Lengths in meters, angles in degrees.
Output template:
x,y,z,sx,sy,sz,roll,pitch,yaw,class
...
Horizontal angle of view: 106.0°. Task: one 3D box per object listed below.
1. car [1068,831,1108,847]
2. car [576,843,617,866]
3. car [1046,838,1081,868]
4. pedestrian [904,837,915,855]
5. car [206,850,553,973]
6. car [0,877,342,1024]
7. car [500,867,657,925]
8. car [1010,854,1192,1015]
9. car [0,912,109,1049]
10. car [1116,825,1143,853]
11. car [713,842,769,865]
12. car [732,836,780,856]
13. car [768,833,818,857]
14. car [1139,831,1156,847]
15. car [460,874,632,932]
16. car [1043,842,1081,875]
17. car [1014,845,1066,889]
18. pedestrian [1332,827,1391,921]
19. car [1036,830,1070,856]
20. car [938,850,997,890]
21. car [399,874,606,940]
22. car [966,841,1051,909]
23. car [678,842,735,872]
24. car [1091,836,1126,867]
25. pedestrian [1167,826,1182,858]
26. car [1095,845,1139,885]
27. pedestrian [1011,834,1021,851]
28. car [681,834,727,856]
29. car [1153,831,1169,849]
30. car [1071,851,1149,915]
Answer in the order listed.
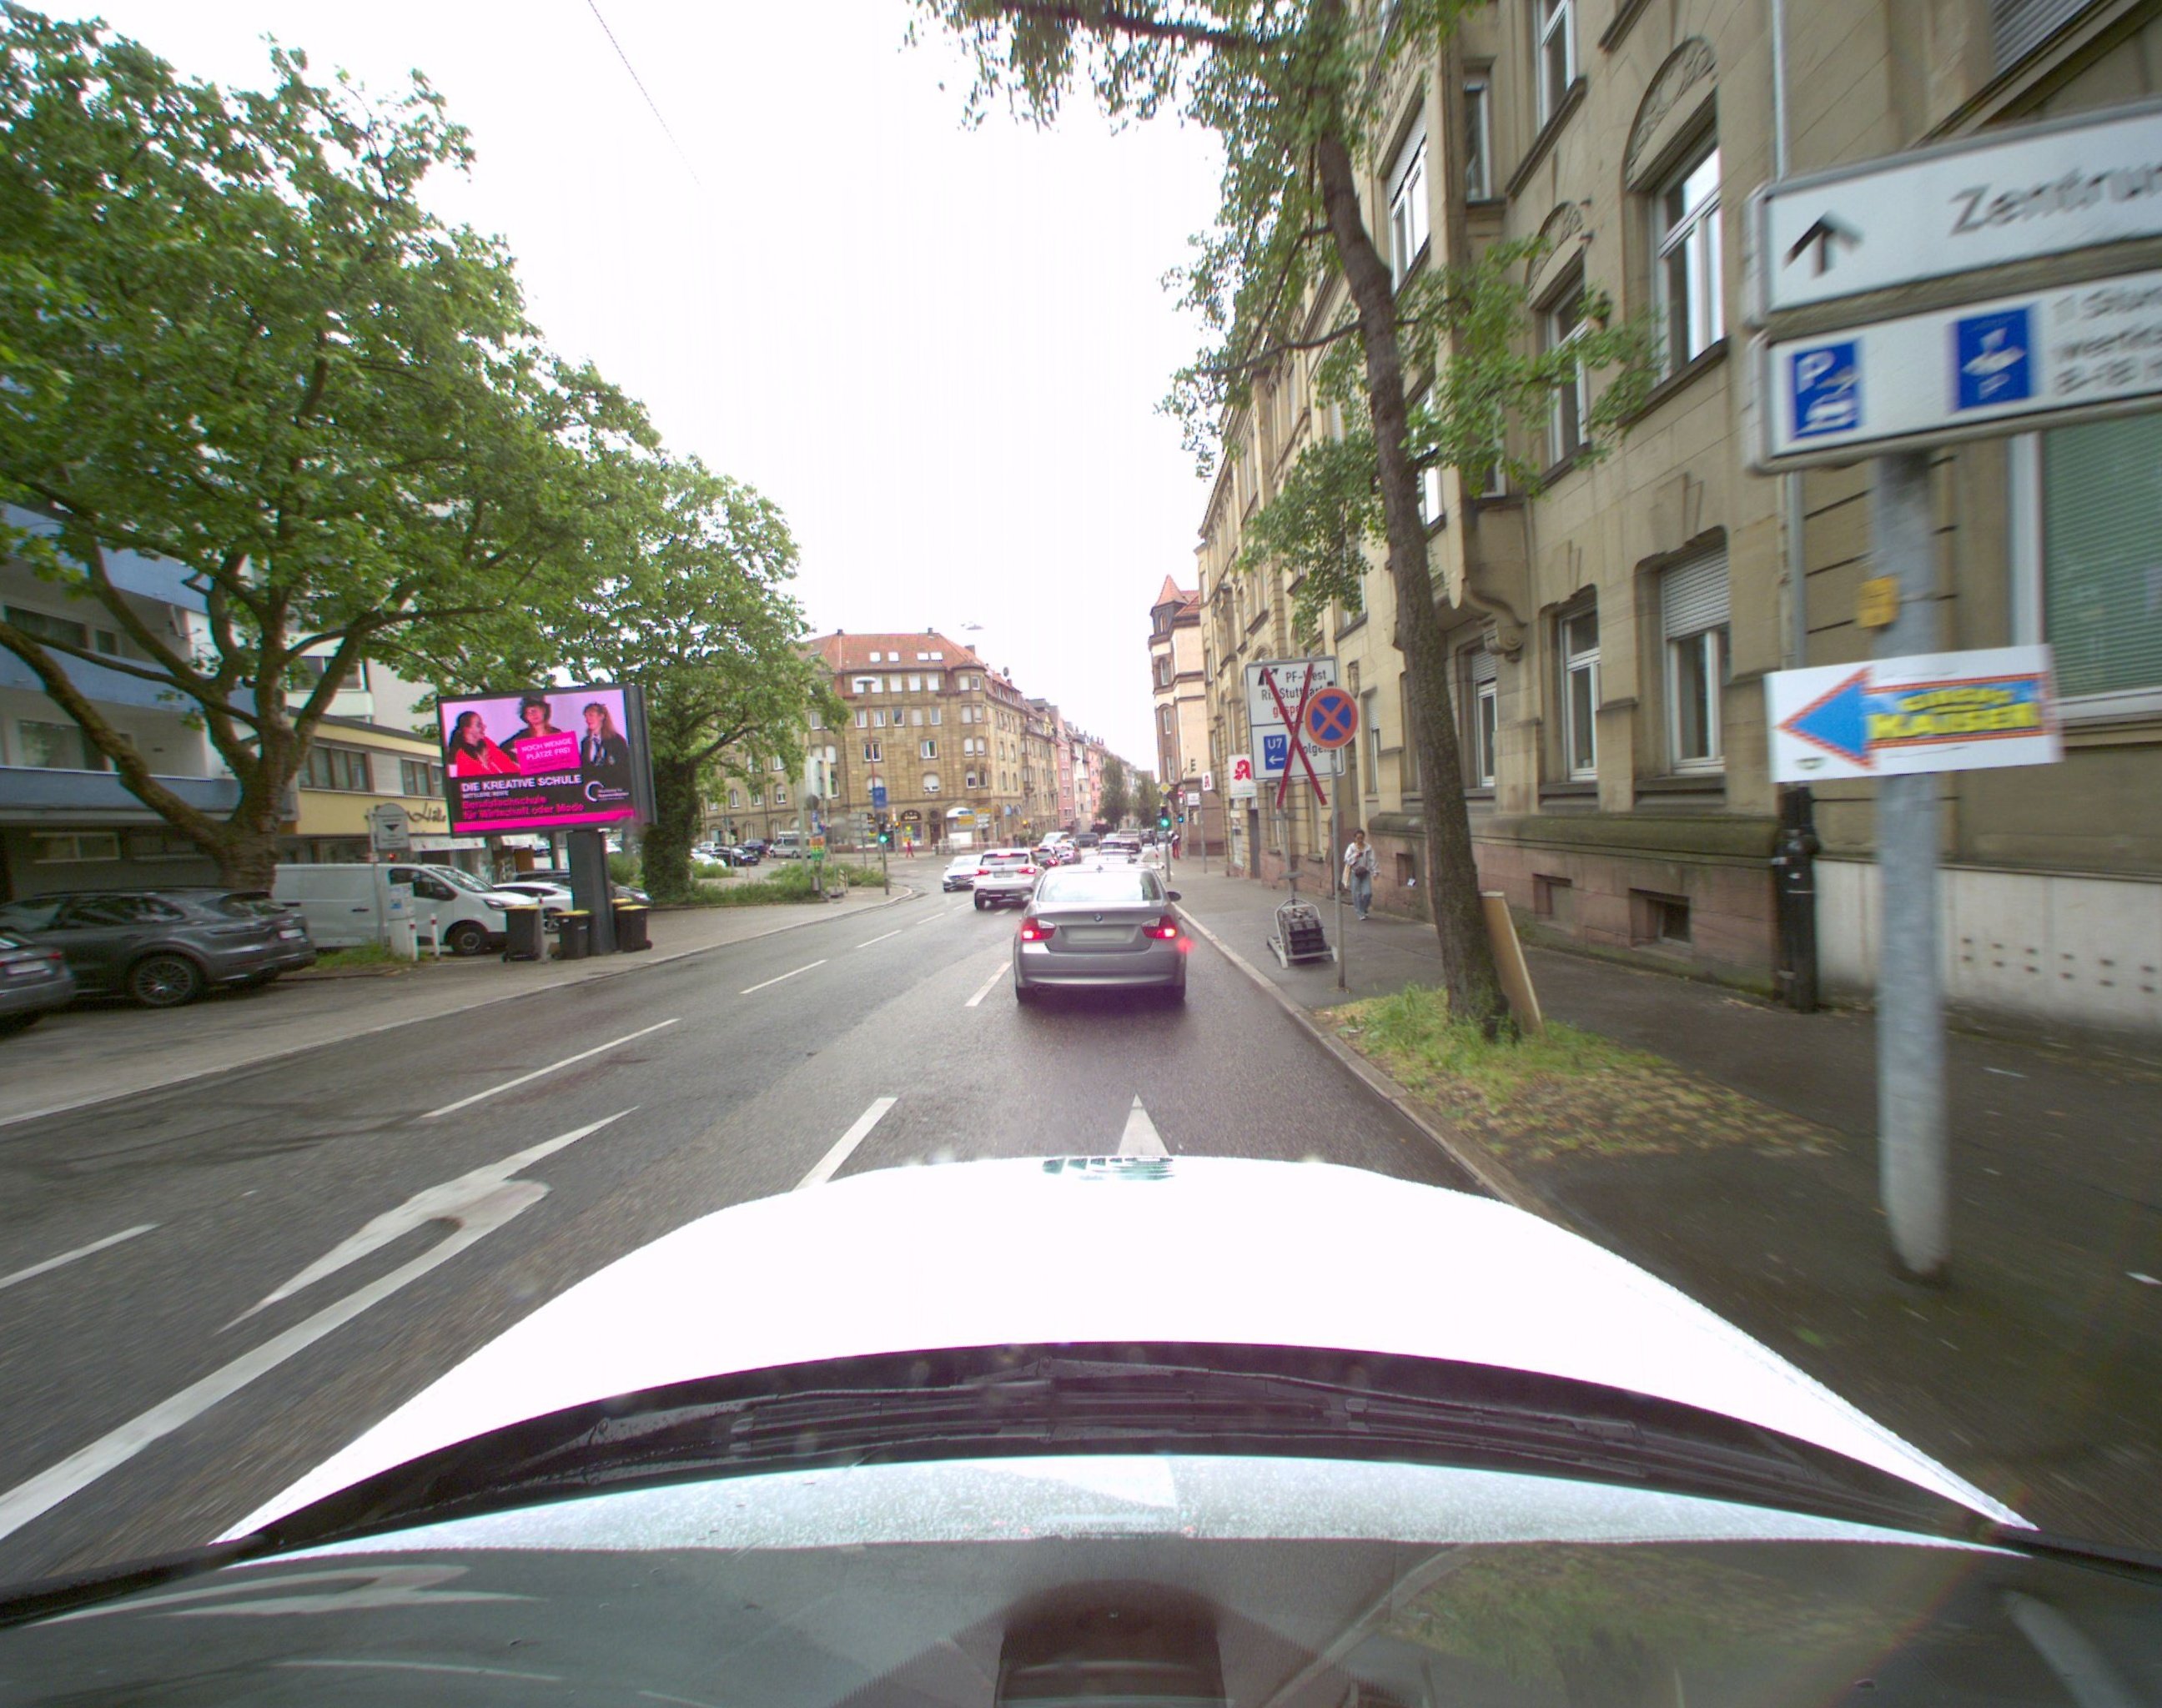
x,y,z,sx,sy,sz,roll,pitch,yaw,class
0.977,-1.945,107.469,5.157,2.014,2.700,0,0,1,car
-44.032,0.064,73.967,3.948,2.013,1.587,-1,1,34,car
-1.042,-0.094,49.611,1.752,1.707,4.004,-2,1,3,car
-15.177,-0.699,72.018,0.532,1.577,0.723,-3,0,20,pedestrian
-14.390,1.096,17.147,5.075,2.105,1.980,-3,0,-19,car
-14.142,1.358,11.964,4.369,1.784,1.927,-3,0,-19,car
-16.685,1.349,27.278,4.138,1.653,1.757,-3,0,-21,car
0.289,0.730,9.198,1.616,1.383,3.619,-2,1,3,car
-14.075,1.531,8.947,3.939,1.430,1.734,-3,0,-23,car
3.874,-1.167,65.555,1.986,2.106,4.002,-1,0,2,car
-26.935,-0.019,64.492,4.194,1.726,2.013,0,2,33,car
-30.746,-0.792,76.973,4.238,1.838,2.013,1,2,30,car
-26.437,-0.868,74.618,4.238,2.101,2.013,1,2,30,car
6.868,-1.572,84.203,1.717,1.552,4.005,0,0,4,car
-16.137,1.439,24.807,3.984,1.450,1.758,-3,0,-19,car
-0.996,0.214,44.835,1.752,1.707,4.004,-2,1,3,car
-1.708,0.508,35.237,1.752,1.707,4.004,-2,1,3,car
4.793,0.330,13.963,0.629,1.508,0.693,-7,0,1,pedestrian
-2.185,-0.911,64.739,1.751,1.925,4.335,-3,1,10,car
-5.059,0.672,36.858,1.731,1.526,4.474,-6,0,2,car
-15.557,1.387,22.181,4.183,1.455,1.783,-3,0,-19,car
-1.986,0.534,23.548,1.861,1.625,4.003,-4,2,2,car
-27.259,0.227,59.294,3.948,2.013,1.890,-3,0,34,car
1.565,-0.166,45.411,1.752,1.567,4.005,-2,1,4,car
5.713,-0.753,49.728,0.739,1.910,0.659,-3,0,1,pedestrian
1.487,0.384,32.771,1.588,1.464,4.004,-1,1,4,car
-6.228,-1.124,78.380,0.727,1.577,0.530,-3,0,11,pedestrian
-37.119,-0.889,80.153,4.238,2.101,2.013,1,2,30,car
9.442,-1.611,95.870,1.715,2.014,4.009,0,0,8,car
0.790,0.654,20.620,1.752,1.383,4.004,-2,1,3,car
